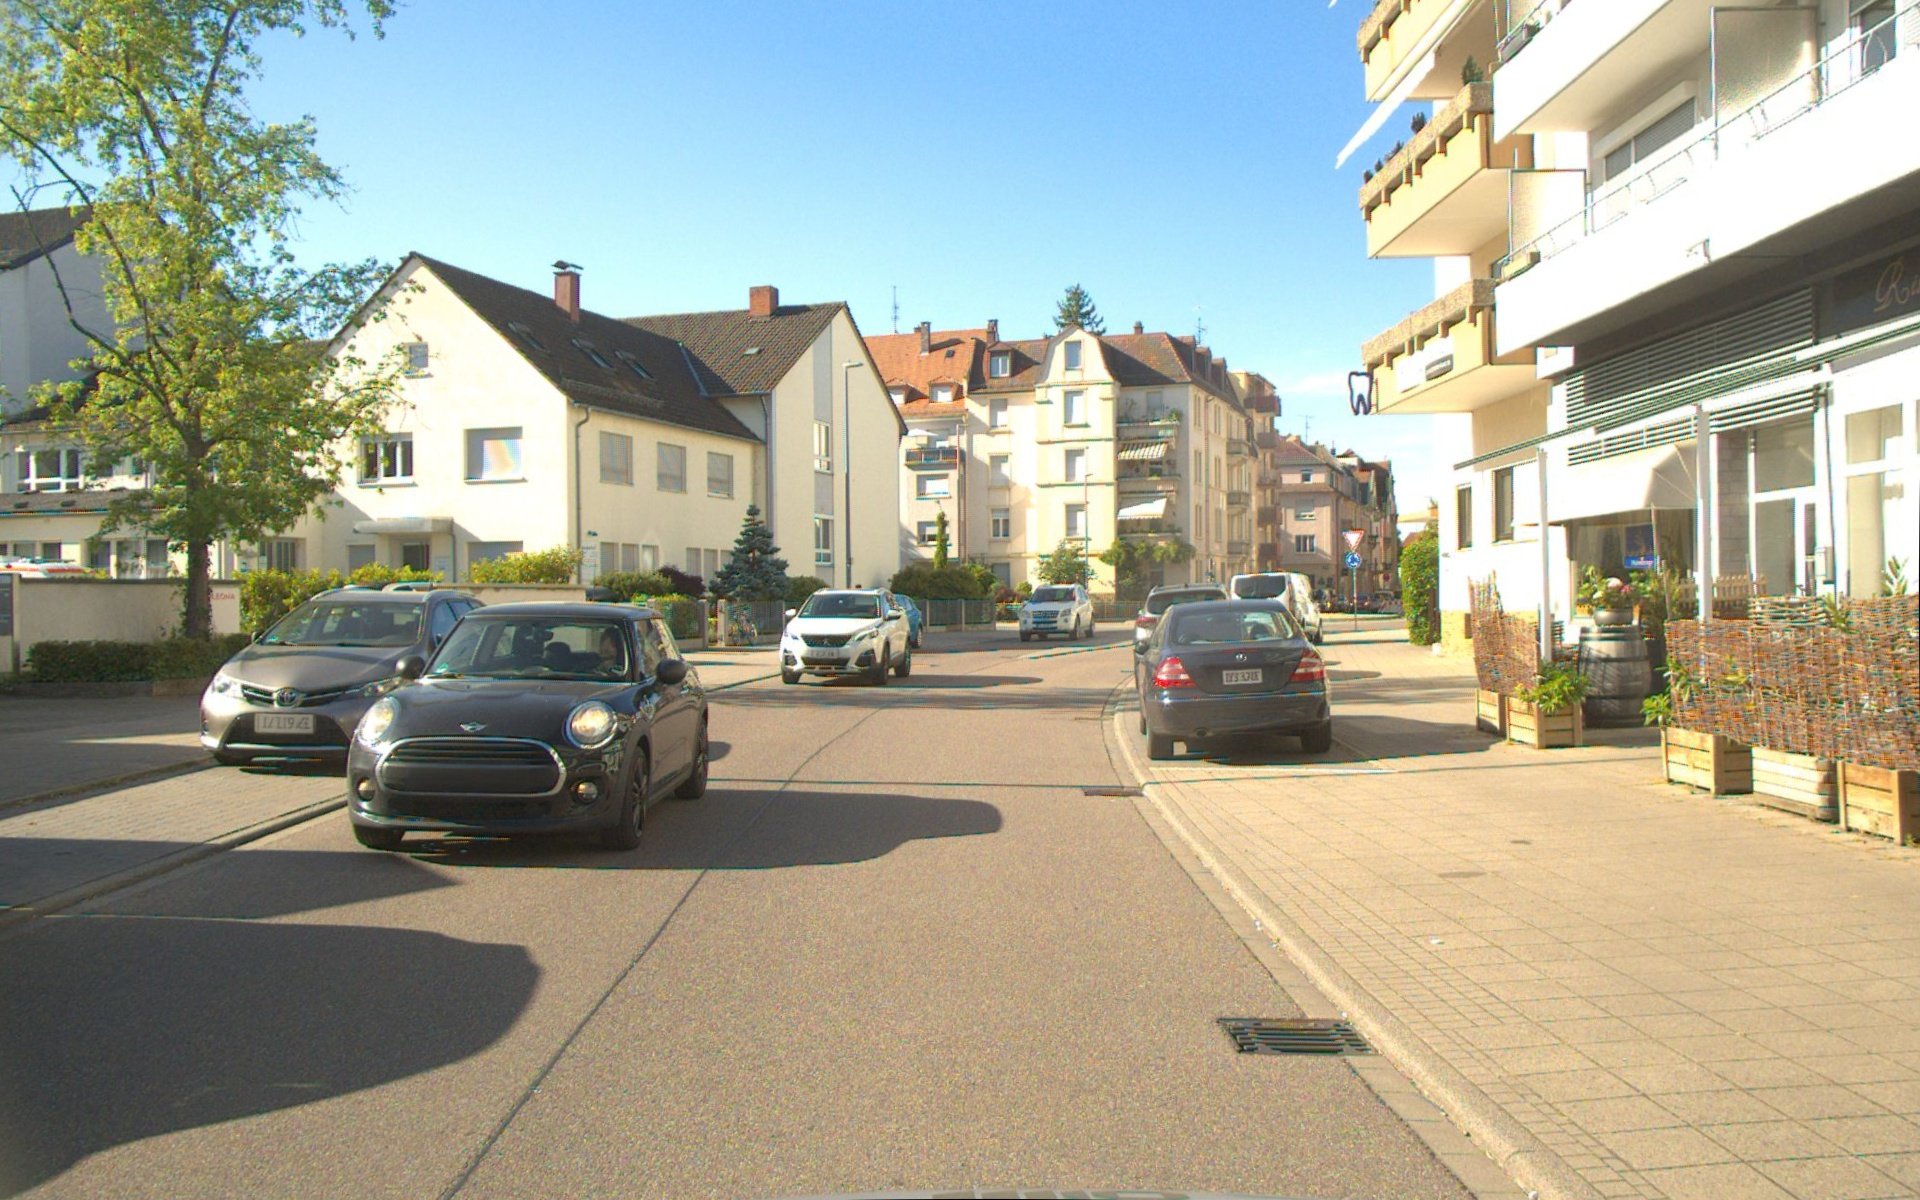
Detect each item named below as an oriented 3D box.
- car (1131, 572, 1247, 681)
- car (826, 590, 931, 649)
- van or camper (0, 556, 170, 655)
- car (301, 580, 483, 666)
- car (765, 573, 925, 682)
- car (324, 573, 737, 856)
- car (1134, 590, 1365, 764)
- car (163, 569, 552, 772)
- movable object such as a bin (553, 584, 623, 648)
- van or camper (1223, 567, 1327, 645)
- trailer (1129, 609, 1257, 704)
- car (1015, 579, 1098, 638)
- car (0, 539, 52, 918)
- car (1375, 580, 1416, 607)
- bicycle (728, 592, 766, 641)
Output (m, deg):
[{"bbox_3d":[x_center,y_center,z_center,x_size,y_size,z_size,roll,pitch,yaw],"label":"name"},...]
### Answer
[{"bbox_3d":[3.912,0.509,28.051,1.778,1.682,4.563,-1,-2,9],"label":"car"},{"bbox_3d":[-2.134,0.483,44.614,1.759,1.499,4.334,1,0,12],"label":"car"},{"bbox_3d":[-23.950,0.191,44.193,5.110,2.440,2.150,-2,-2,20],"label":"van or camper"},{"bbox_3d":[-11.179,0.501,32.743,1.763,1.583,3.187,-1,-3,22],"label":"car"},{"bbox_3d":[-1.933,0.545,29.138,1.878,1.755,4.339,-1,-2,9],"label":"car"},{"bbox_3d":[-2.606,0.710,10.937,1.704,1.539,3.729,0,-3,1],"label":"car"},{"bbox_3d":[2.746,0.687,16.640,1.929,1.476,5.006,-1,-1,6],"label":"car"},{"bbox_3d":[-5.299,0.532,15.361,1.953,1.561,4.916,0,0,-2],"label":"car"},{"bbox_3d":[-9.199,0.409,40.912,1.255,1.516,1.228,-1,-3,15],"label":"movable object such as a bin"},{"bbox_3d":[8.839,0.154,46.152,1.979,1.981,4.703,-3,-1,21],"label":"van or camper"},{"bbox_3d":[3.235,0.737,22.608,1.568,1.199,2.945,-1,-1,11],"label":"trailer"},{"bbox_3d":[3.202,0.247,53.981,1.947,1.816,4.523,-1,0,13],"label":"car"},{"bbox_3d":[-4.930,0.557,5.225,1.684,1.614,4.421,0,0,0],"label":"car"},{"bbox_3d":[31.239,-0.474,118.480,2.381,1.843,4.724,-1,0,20],"label":"car"},{"bbox_3d":[-5.773,0.464,44.833,0.446,1.272,1.929,-1,-2,10],"label":"bicycle"}]
